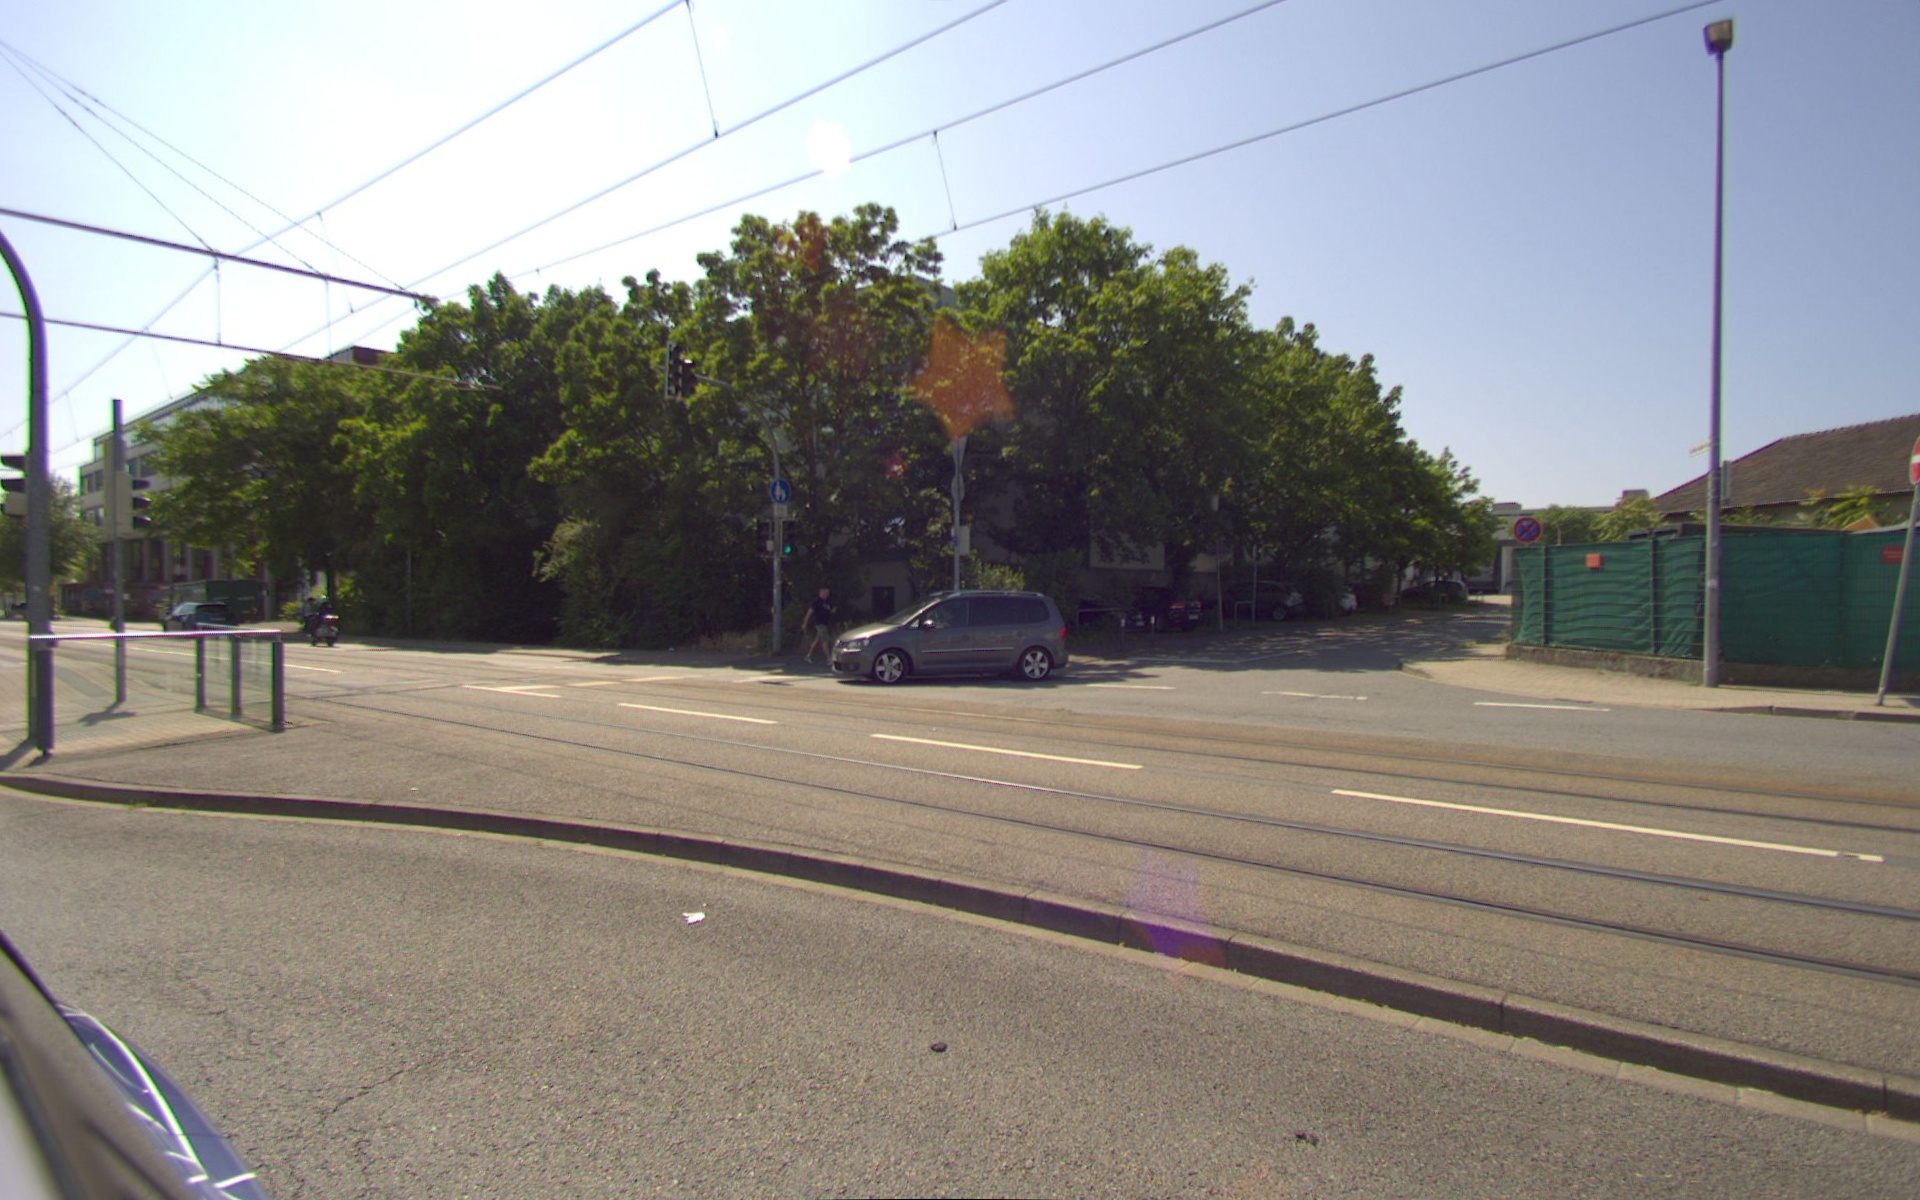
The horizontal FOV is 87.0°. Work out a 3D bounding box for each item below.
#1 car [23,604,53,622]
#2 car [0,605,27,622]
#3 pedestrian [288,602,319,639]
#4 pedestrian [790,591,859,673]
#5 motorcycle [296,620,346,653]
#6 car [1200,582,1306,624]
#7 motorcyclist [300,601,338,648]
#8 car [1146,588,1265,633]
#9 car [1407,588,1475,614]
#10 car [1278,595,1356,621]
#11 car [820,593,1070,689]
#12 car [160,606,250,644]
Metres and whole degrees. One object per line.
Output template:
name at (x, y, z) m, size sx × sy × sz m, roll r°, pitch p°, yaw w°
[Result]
car at (-85.939, 1.230, 94.336) m, size 1.970 × 1.635 × 4.004 m, roll 1°, pitch -1°, yaw -43°
car at (-92.178, 1.328, 98.557) m, size 1.844 × 1.630 × 4.004 m, roll 1°, pitch -1°, yaw -43°
pedestrian at (-27.421, 0.855, 42.251) m, size 0.845 × 1.538 × 0.862 m, roll 0°, pitch 0°, yaw 38°
pedestrian at (-2.956, 0.675, 22.050) m, size 1.159 × 1.682 × 0.877 m, roll -1°, pitch 3°, yaw 39°
motorcycle at (-20.825, 1.162, 32.957) m, size 1.962 × 1.019 × 0.814 m, roll 0°, pitch 0°, yaw 40°
car at (11.880, 0.128, 41.084) m, size 3.857 × 1.650 × 1.607 m, roll 0°, pitch 0°, yaw 34°
motorcyclist at (-20.913, 0.787, 33.018) m, size 0.962 × 1.486 × 0.827 m, roll 0°, pitch 0°, yaw 40°
car at (8.343, 0.342, 34.464) m, size 3.832 × 1.478 × 1.617 m, roll 0°, pitch 0°, yaw 16°
car at (30.944, 0.095, 65.144) m, size 3.691 × 1.619 × 1.553 m, roll 0°, pitch 0°, yaw 39°
car at (16.081, 0.345, 45.622) m, size 3.115 × 1.133 × 1.197 m, roll 0°, pitch 0°, yaw 34°
car at (-0.298, 0.697, 18.435) m, size 4.119 × 1.595 × 1.939 m, roll 1°, pitch 0°, yaw -22°
car at (-30.878, 1.003, 41.358) m, size 4.591 × 1.453 × 1.888 m, roll 0°, pitch -2°, yaw 39°
